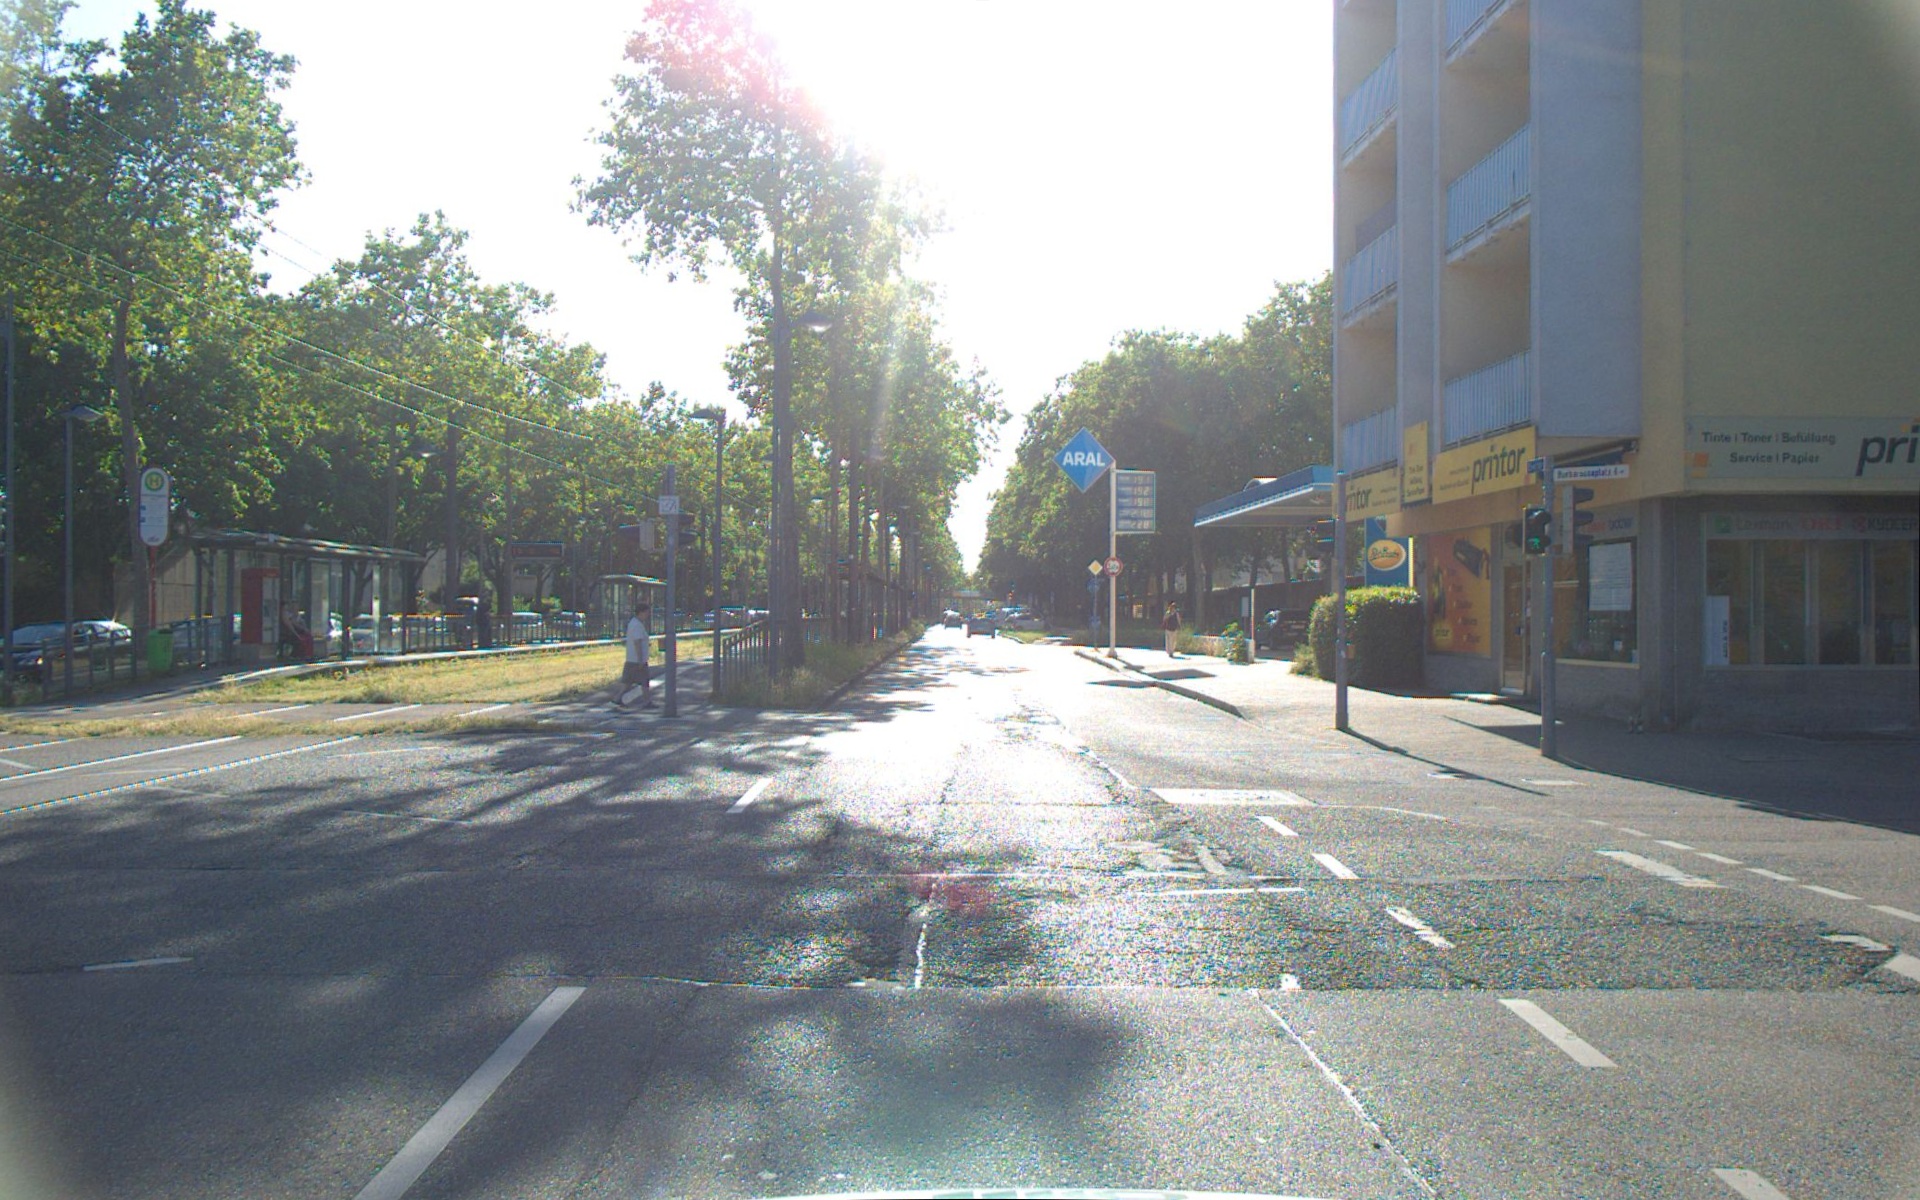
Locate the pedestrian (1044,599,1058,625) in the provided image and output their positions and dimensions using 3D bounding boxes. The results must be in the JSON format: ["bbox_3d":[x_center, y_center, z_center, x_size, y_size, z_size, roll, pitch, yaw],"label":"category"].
[{"bbox_3d":[6.307,0.837,115.051,0.704,1.736,0.646,-1,-1,-35],"label":"pedestrian"}]

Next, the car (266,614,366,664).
[{"bbox_3d":[-20.010,1.184,51.555,1.561,1.470,3.930,0,0,1],"label":"car"}]

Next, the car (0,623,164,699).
[{"bbox_3d":[-15.199,1.025,28.719,1.297,1.225,2.965,0,0,0],"label":"car"}]

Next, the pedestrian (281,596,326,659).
[{"bbox_3d":[-14.527,0.606,36.625,0.679,1.365,0.734,0,-1,1],"label":"pedestrian"}]

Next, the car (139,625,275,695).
[{"bbox_3d":[-16.978,1.326,37.471,1.573,1.452,3.535,0,0,-2],"label":"car"}]

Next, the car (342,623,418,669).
[{"bbox_3d":[-22.290,1.729,63.717,1.561,1.664,3.929,0,0,-1],"label":"car"}]

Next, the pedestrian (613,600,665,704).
[{"bbox_3d":[-4.857,0.780,25.040,0.650,1.555,0.534,0,-1,-26],"label":"pedestrian"}]

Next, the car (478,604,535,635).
[{"bbox_3d":[-23.373,1.001,85.390,1.678,1.573,3.934,0,0,2],"label":"car"}]

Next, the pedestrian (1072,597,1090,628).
[{"bbox_3d":[7.532,0.793,103.263,0.909,1.918,0.797,0,0,-14],"label":"pedestrian"}]

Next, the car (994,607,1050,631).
[{"bbox_3d":[5.131,1.557,137.132,4.628,1.885,1.804,-1,-1,-41],"label":"car"}]

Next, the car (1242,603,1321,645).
[{"bbox_3d":[11.610,0.848,59.948,1.687,1.489,4.000,0,0,-6],"label":"car"}]

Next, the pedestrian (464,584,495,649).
[{"bbox_3d":[-14.315,0.489,49.285,0.705,1.900,0.637,0,-1,0],"label":"pedestrian"}]

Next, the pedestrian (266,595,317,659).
[{"bbox_3d":[-14.448,0.580,35.752,0.716,1.365,0.774,0,-1,14],"label":"pedestrian"}]

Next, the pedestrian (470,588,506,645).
[{"bbox_3d":[-14.368,0.494,50.369,0.865,1.719,0.754,0,-1,0],"label":"pedestrian"}]

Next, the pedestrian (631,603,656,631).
[{"bbox_3d":[-14.688,0.784,76.709,0.821,1.283,0.798,1,-1,28],"label":"pedestrian"}]

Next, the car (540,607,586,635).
[{"bbox_3d":[-23.656,1.226,98.607,1.678,1.573,4.201,0,0,1],"label":"car"}]

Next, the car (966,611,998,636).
[{"bbox_3d":[1.320,1.426,101.573,1.883,1.436,3.999,1,0,-1],"label":"car"}]

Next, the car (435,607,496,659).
[{"bbox_3d":[-22.706,1.473,76.097,1.679,2.302,3.932,0,0,-1],"label":"car"}]

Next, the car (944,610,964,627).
[{"bbox_3d":[-0.569,1.719,153.506,1.811,1.562,3.866,0,0,0],"label":"car"}]

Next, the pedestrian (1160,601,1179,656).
[{"bbox_3d":[6.738,0.912,53.167,0.591,1.731,0.553,0,0,4],"label":"pedestrian"}]

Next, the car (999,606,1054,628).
[{"bbox_3d":[5.124,1.273,126.869,3.947,1.495,1.742,-3,0,-32],"label":"car"}]
